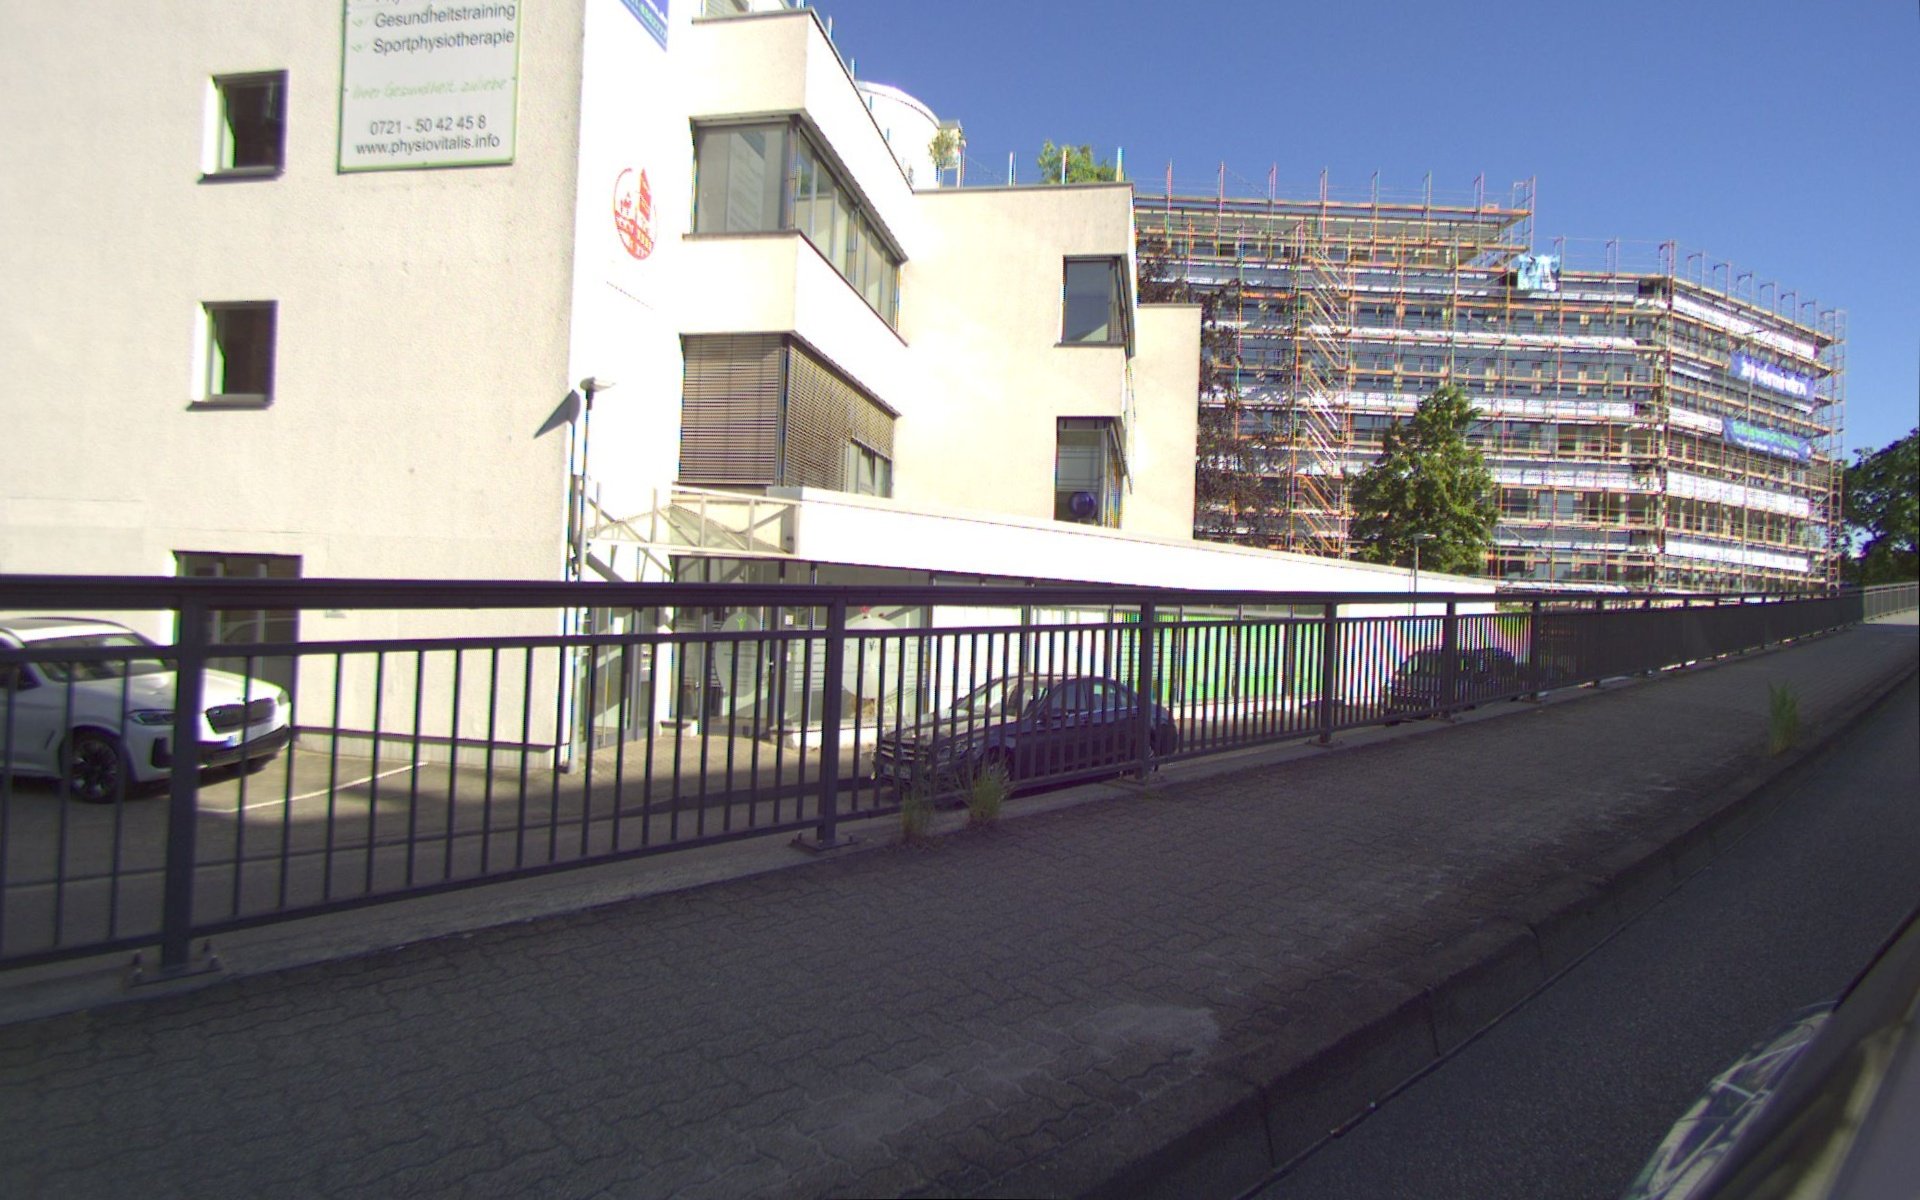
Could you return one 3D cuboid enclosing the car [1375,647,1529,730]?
[{"bbox_3d":[10.864,1.858,22.233,3.931,1.541,1.723,1,-1,-42],"label":"car"}]

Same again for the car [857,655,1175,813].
[{"bbox_3d":[0.815,1.544,12.813,3.929,1.541,1.724,1,-1,-41],"label":"car"}]

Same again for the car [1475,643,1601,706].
[{"bbox_3d":[14.986,1.864,26.164,3.931,1.410,1.723,1,-1,-42],"label":"car"}]

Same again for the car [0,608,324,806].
[{"bbox_3d":[-9.530,1.020,10.845,4.455,1.707,1.840,2,0,9],"label":"car"}]

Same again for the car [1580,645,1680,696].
[{"bbox_3d":[21.092,2.170,31.804,3.931,1.410,1.723,1,-1,-42],"label":"car"}]
